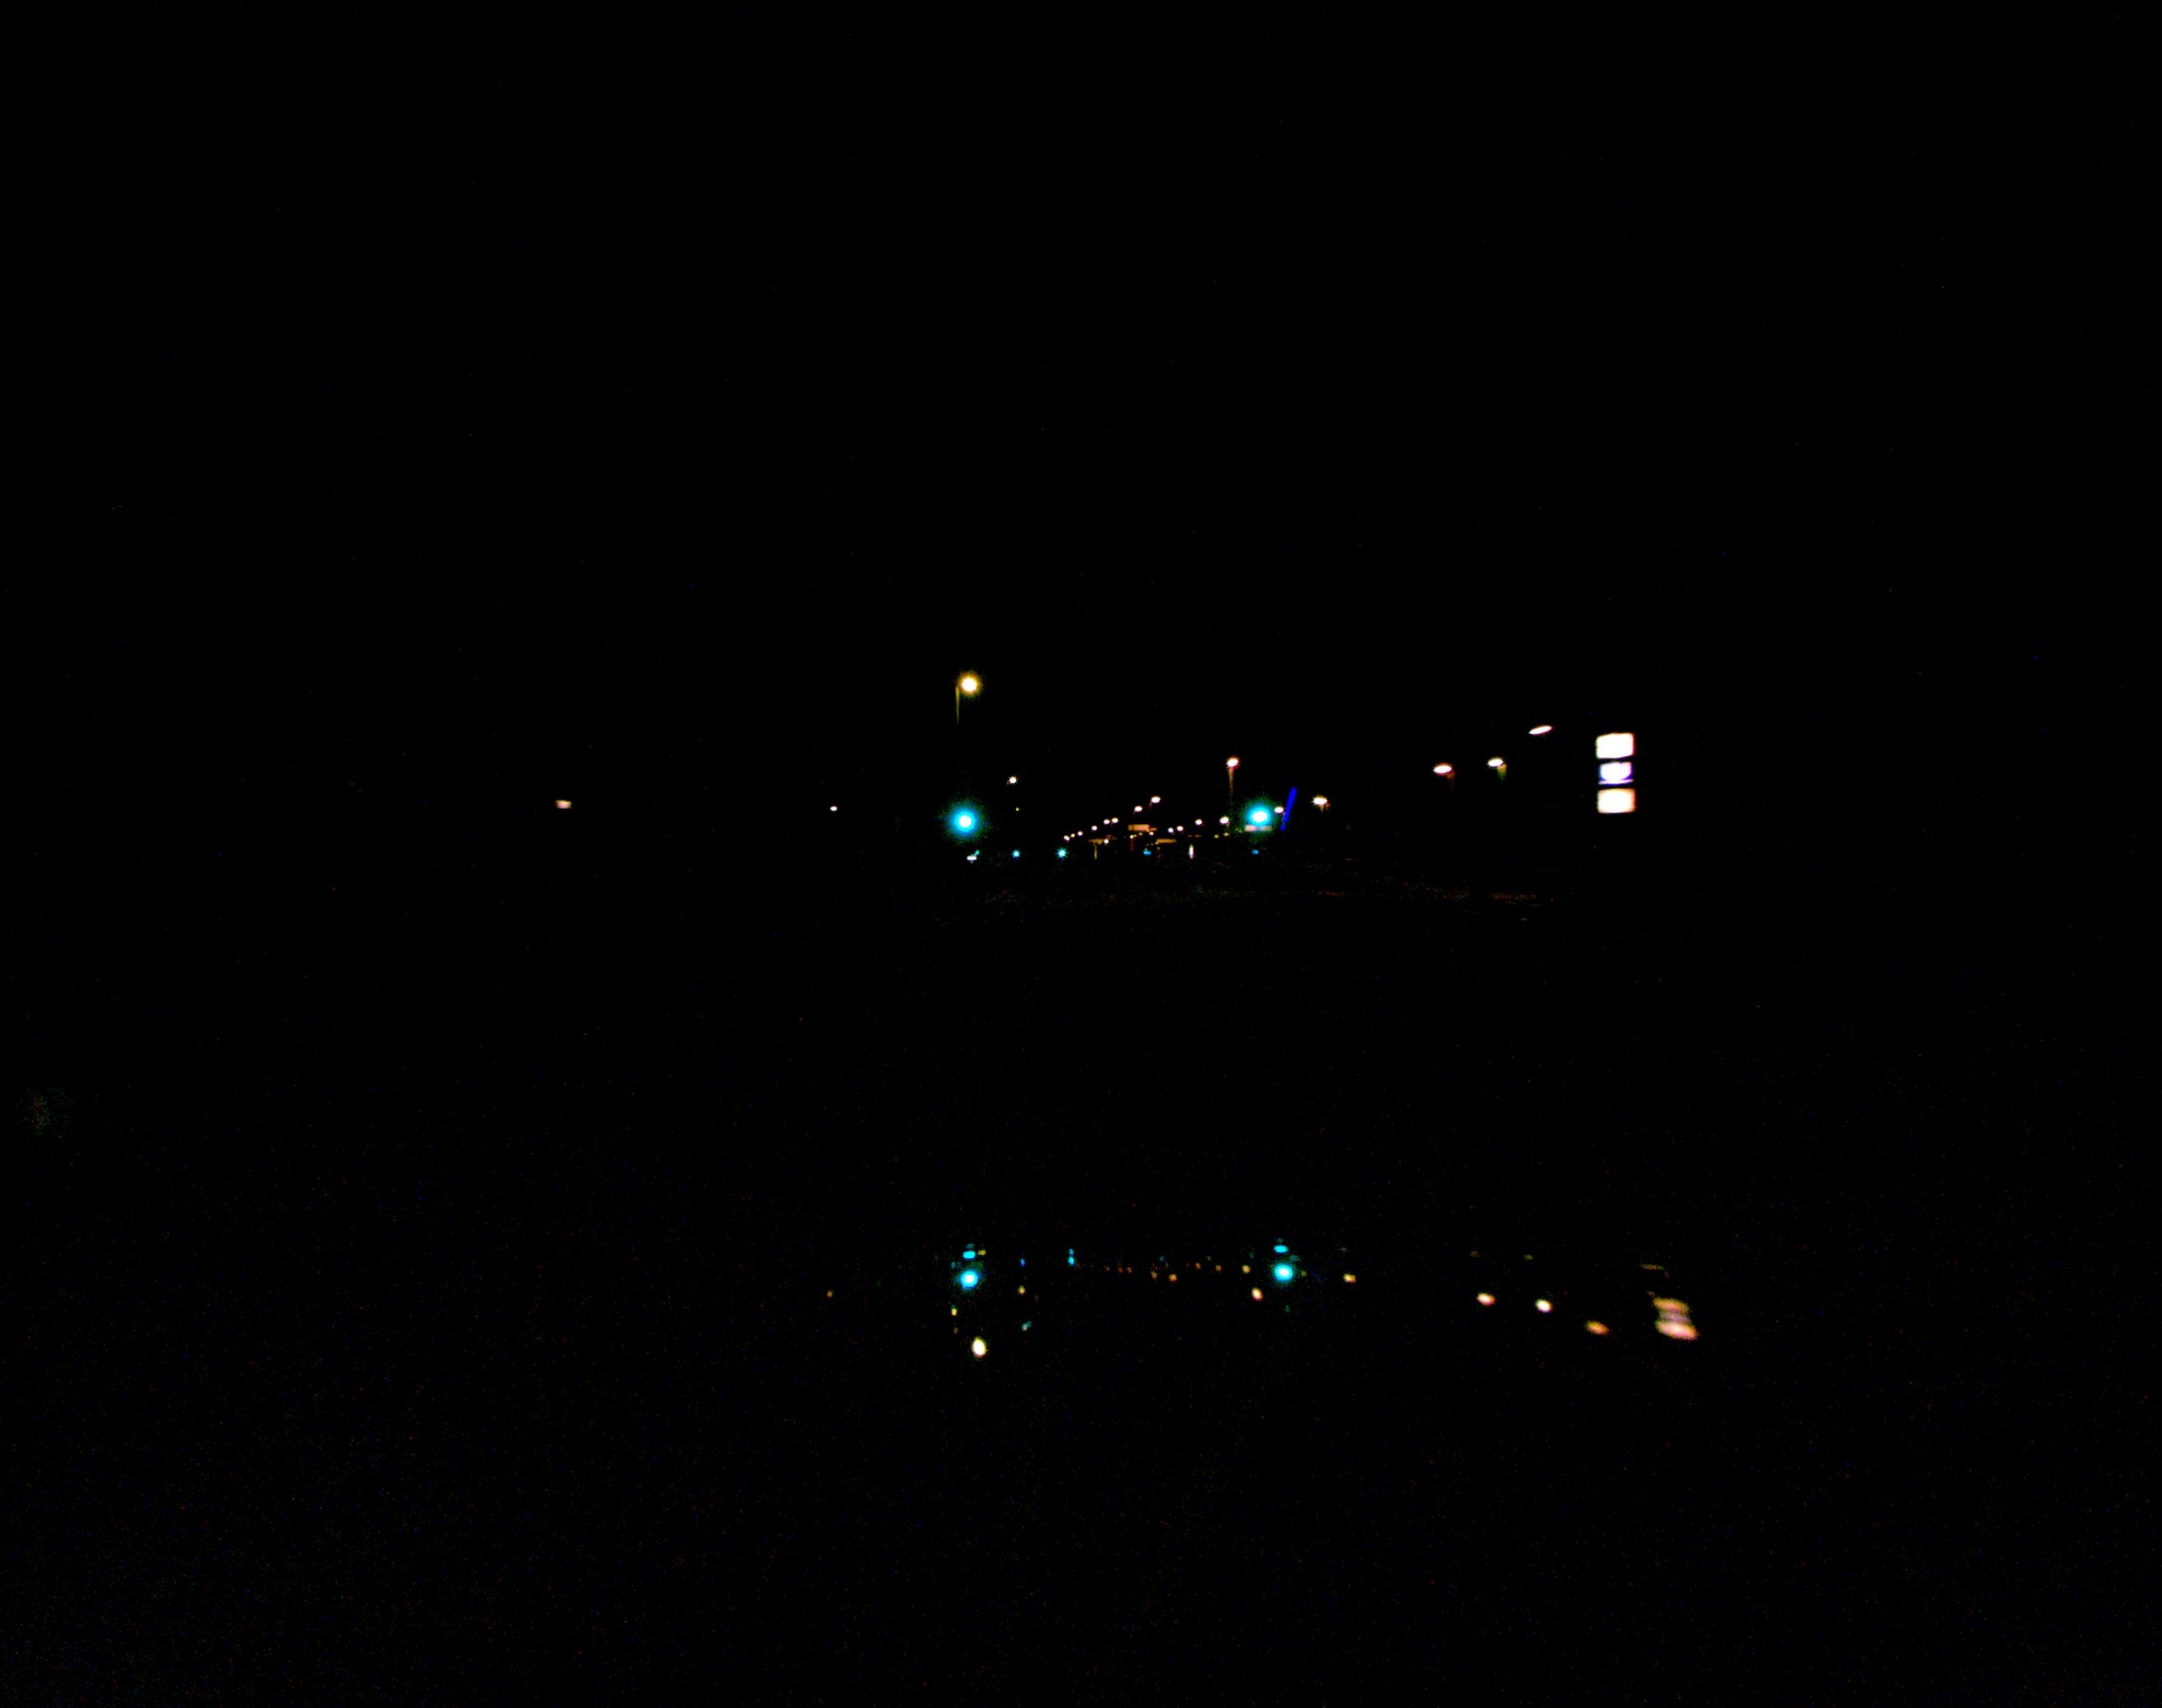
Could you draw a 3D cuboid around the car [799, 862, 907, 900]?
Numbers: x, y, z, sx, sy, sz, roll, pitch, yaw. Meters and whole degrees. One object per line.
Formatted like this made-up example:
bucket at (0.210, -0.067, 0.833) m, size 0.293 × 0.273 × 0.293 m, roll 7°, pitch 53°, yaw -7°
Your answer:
car at (-9.178, 1.068, 30.816) m, size 3.774 × 1.346 × 1.858 m, roll -2°, pitch 1°, yaw -1°
